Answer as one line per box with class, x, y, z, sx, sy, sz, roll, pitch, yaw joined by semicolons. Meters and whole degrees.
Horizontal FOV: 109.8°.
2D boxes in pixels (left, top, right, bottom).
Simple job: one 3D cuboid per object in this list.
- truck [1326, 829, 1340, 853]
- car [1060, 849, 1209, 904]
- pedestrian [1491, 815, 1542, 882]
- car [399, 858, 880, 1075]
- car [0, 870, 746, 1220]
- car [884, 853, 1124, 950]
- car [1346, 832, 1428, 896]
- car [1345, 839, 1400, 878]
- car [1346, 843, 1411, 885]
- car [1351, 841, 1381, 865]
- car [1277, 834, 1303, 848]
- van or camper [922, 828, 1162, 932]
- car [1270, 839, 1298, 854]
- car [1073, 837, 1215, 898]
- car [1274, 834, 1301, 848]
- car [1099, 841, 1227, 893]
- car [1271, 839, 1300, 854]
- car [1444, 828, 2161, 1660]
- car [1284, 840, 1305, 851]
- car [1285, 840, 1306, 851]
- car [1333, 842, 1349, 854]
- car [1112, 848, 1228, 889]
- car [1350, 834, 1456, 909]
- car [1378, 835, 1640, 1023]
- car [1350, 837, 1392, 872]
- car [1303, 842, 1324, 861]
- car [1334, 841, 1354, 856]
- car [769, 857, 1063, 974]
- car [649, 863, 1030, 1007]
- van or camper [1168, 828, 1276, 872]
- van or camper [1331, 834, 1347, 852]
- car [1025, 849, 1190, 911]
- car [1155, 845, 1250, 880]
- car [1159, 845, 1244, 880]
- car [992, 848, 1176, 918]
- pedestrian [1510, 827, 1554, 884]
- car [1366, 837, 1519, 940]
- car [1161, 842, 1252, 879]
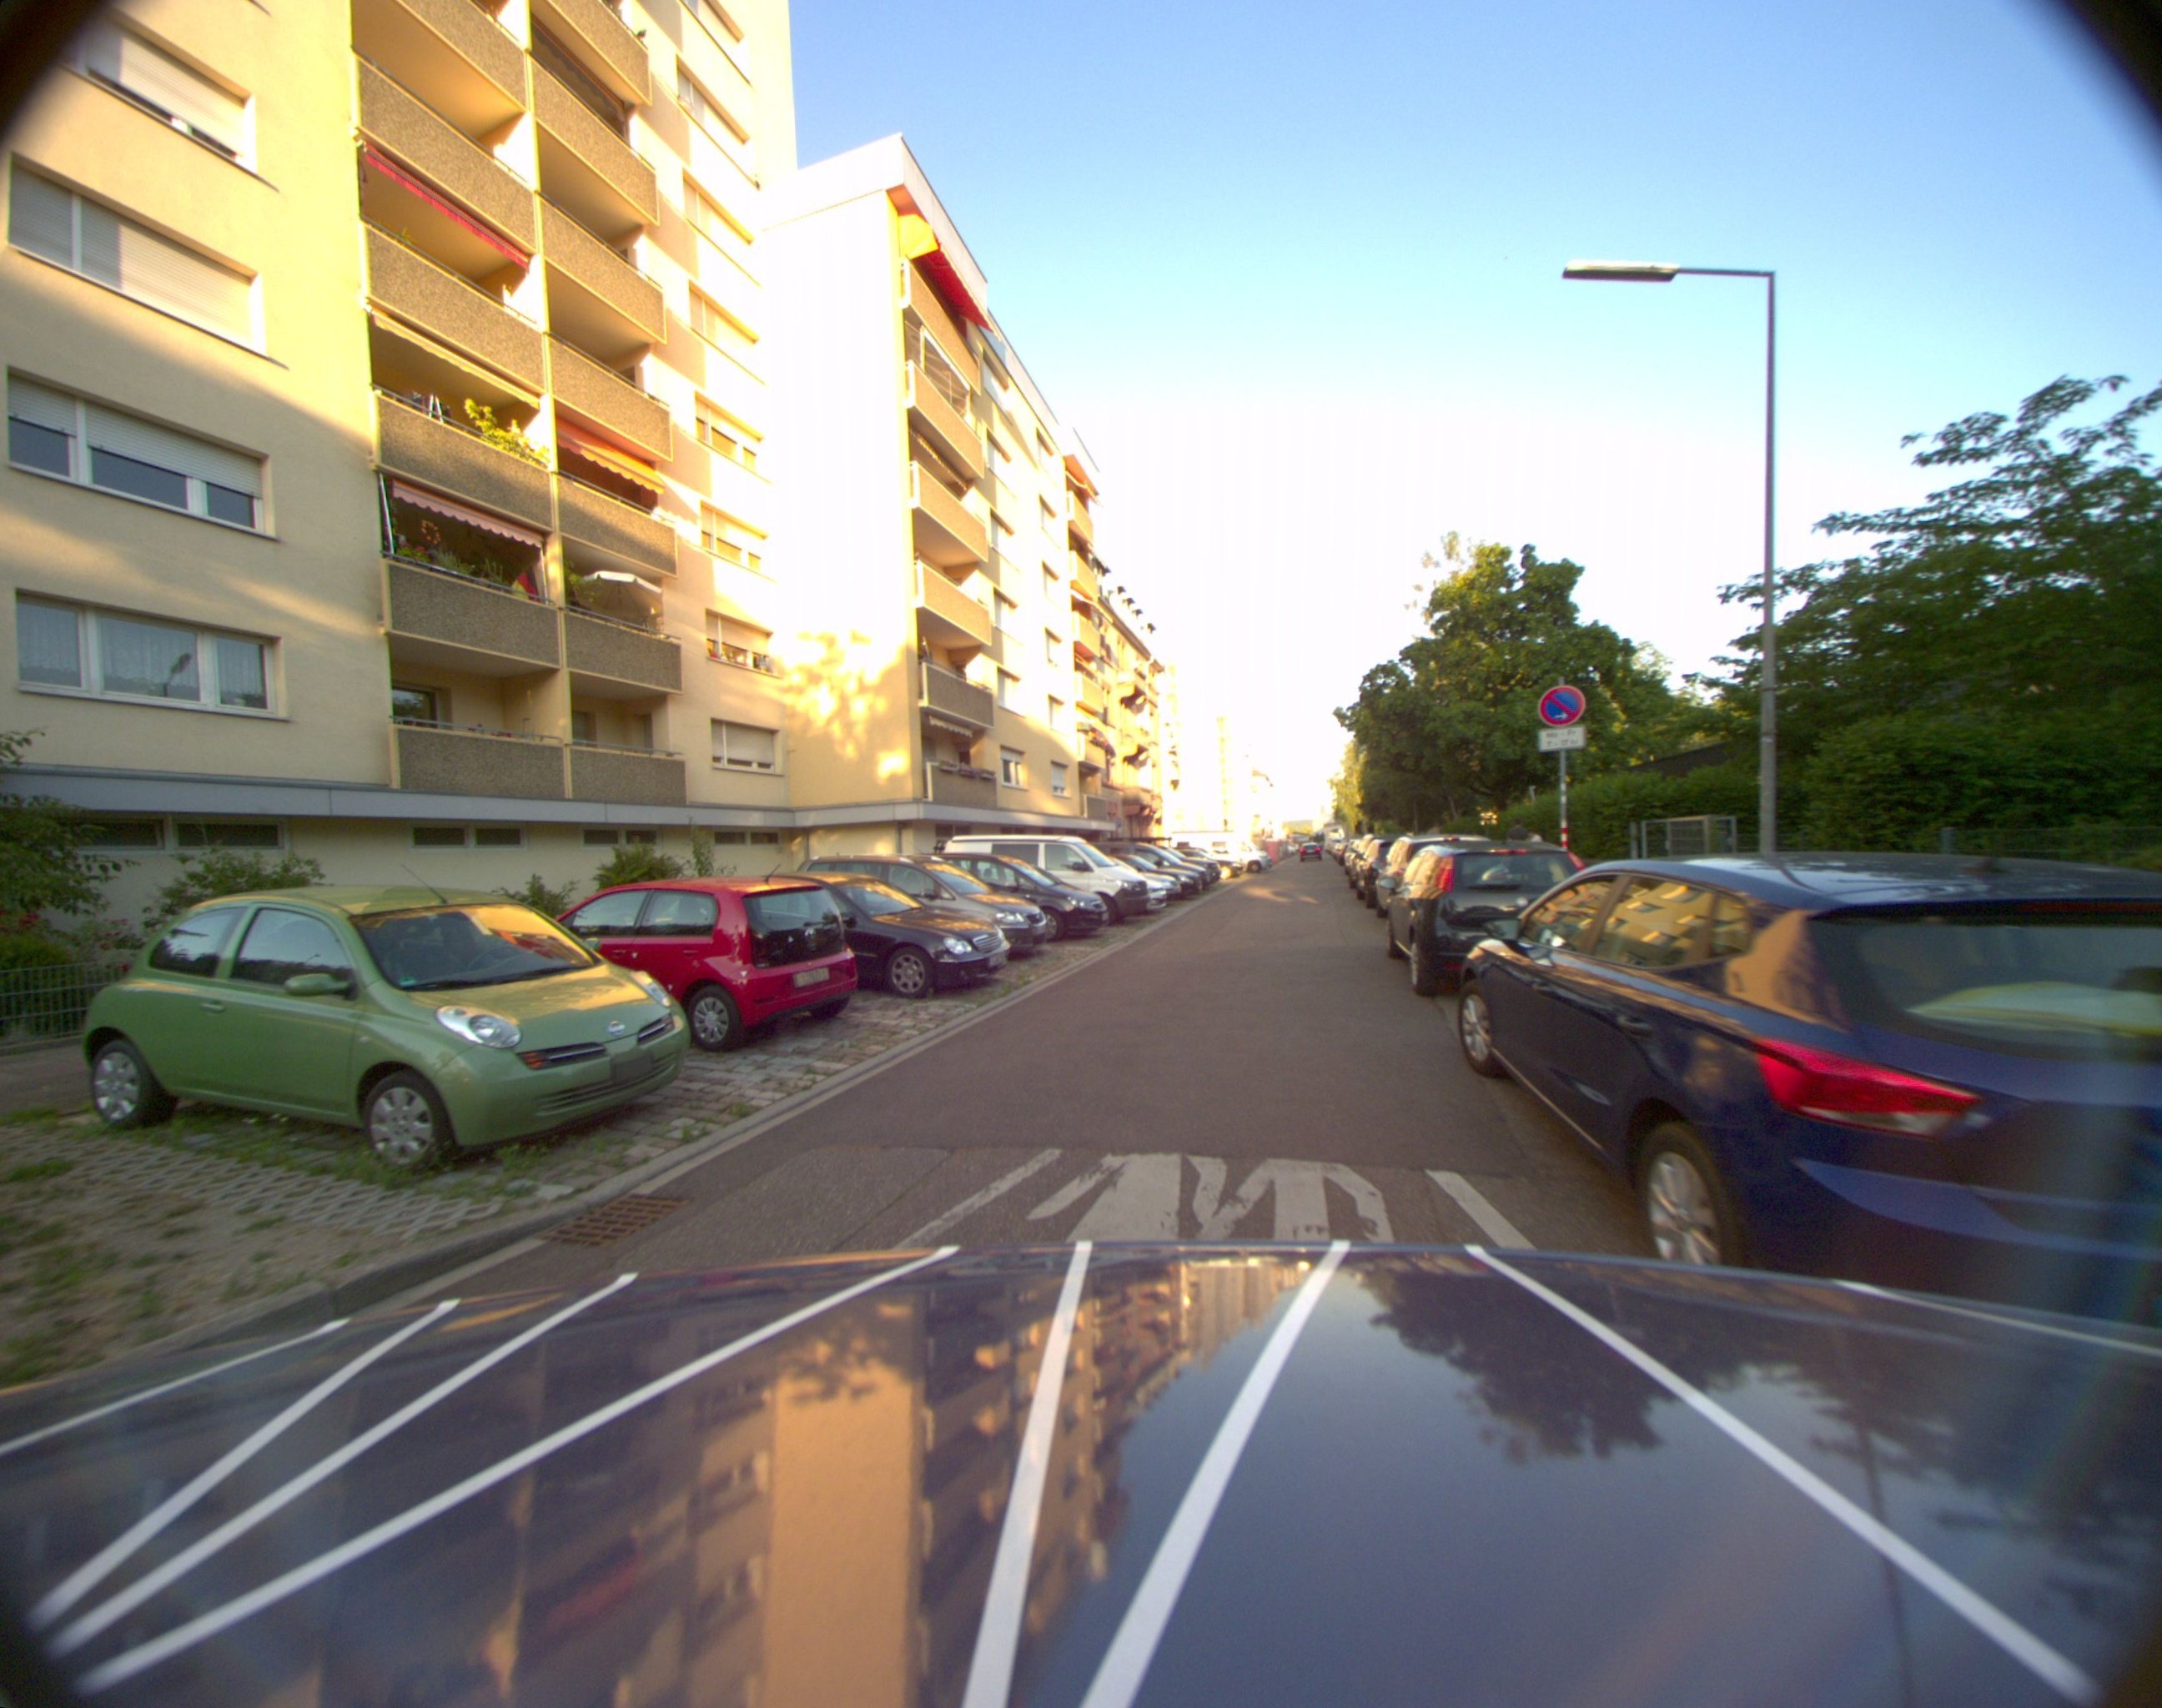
truck;43.702;-2.300;131.829;2.180;3.860;4.932;-4;0;18
car;1.749;0.716;24.380;4.409;1.554;1.847;-1;3;17
pedestrian;11.840;-0.148;20.686;0.900;1.722;0.751;-6;0;17
car;-4.478;0.925;7.784;4.407;1.622;1.848;1;2;20
car;-4.858;1.031;5.230;4.409;1.622;1.847;-2;3;16
car;-1.466;0.861;15.030;4.331;1.652;1.783;0;3;16
car;9.039;0.257;22.724;1.736;1.720;4.327;-1;0;15
car;12.403;0.153;32.573;1.761;1.534;4.285;-1;0;15
car;10.794;0.319;27.834;1.736;1.418;4.291;-1;0;15
car;17.990;-0.064;48.016;1.621;1.417;3.420;-1;0;18
car;34.943;-2.199;127.266;3.992;2.002;2.002;-4;0;18
van or camper;-0.858;0.491;17.587;5.139;2.156;2.042;1;2;16
car;31.104;-1.110;116.261;3.992;2.002;2.002;-4;0;18
car;2.242;0.468;26.773;4.642;1.970;1.847;-1;3;17
car;33.766;-2.125;124.324;3.992;2.002;2.002;-4;0;18
car;3.136;0.494;28.947;4.518;1.852;1.848;-1;1;17
car;30.669;-1.080;113.722;3.992;2.002;2.002;-4;0;18
car;2.862;0.709;3.161;1.736;1.558;3.794;-1;0;15
car;43.586;-1.650;155.291;3.992;2.002;2.002;-4;0;18
car;44.493;-1.712;157.551;3.992;2.002;2.002;-4;0;18
car;32.563;-0.752;95.313;1.735;1.358;4.296;-1;0;17
car;3.715;0.601;31.622;4.408;1.545;1.847;-1;3;20
car;7.483;0.351;18.043;1.736;1.558;4.172;-1;0;15
car;4.330;0.620;8.310;1.735;1.558;3.701;-1;0;17
car;14.415;-0.017;37.889;1.735;1.622;3.985;-1;0;18
car;21.095;-0.224;68.886;1.735;1.622;4.130;-1;0;18
car;26.970;-0.577;77.935;1.735;1.358;4.296;-1;0;17
car;-2.698;0.918;12.723;4.409;1.652;1.847;0;3;16
car;-3.098;0.973;10.011;4.409;1.523;1.847;-1;3;16
van or camper;8.439;-0.233;45.506;6.066;2.490;2.053;-1;1;18
van or camper;36.014;-1.570;106.141;1.822;2.400;4.296;-1;1;17
car;0.790;0.756;22.110;4.409;1.584;1.847;-1;3;17
car;6.072;0.441;37.915;4.408;1.545;1.847;-1;3;19
car;6.813;0.490;43.049;4.409;1.610;1.847;-3;2;19
car;0.101;0.755;19.918;4.409;1.622;1.847;-1;3;17
pedestrian;12.852;0.039;21.675;0.749;1.499;0.903;-6;0;16
car;6.253;0.514;13.622;1.736;1.558;4.134;-1;0;15
car;6.687;0.345;40.420;4.408;1.739;1.848;-1;3;22
